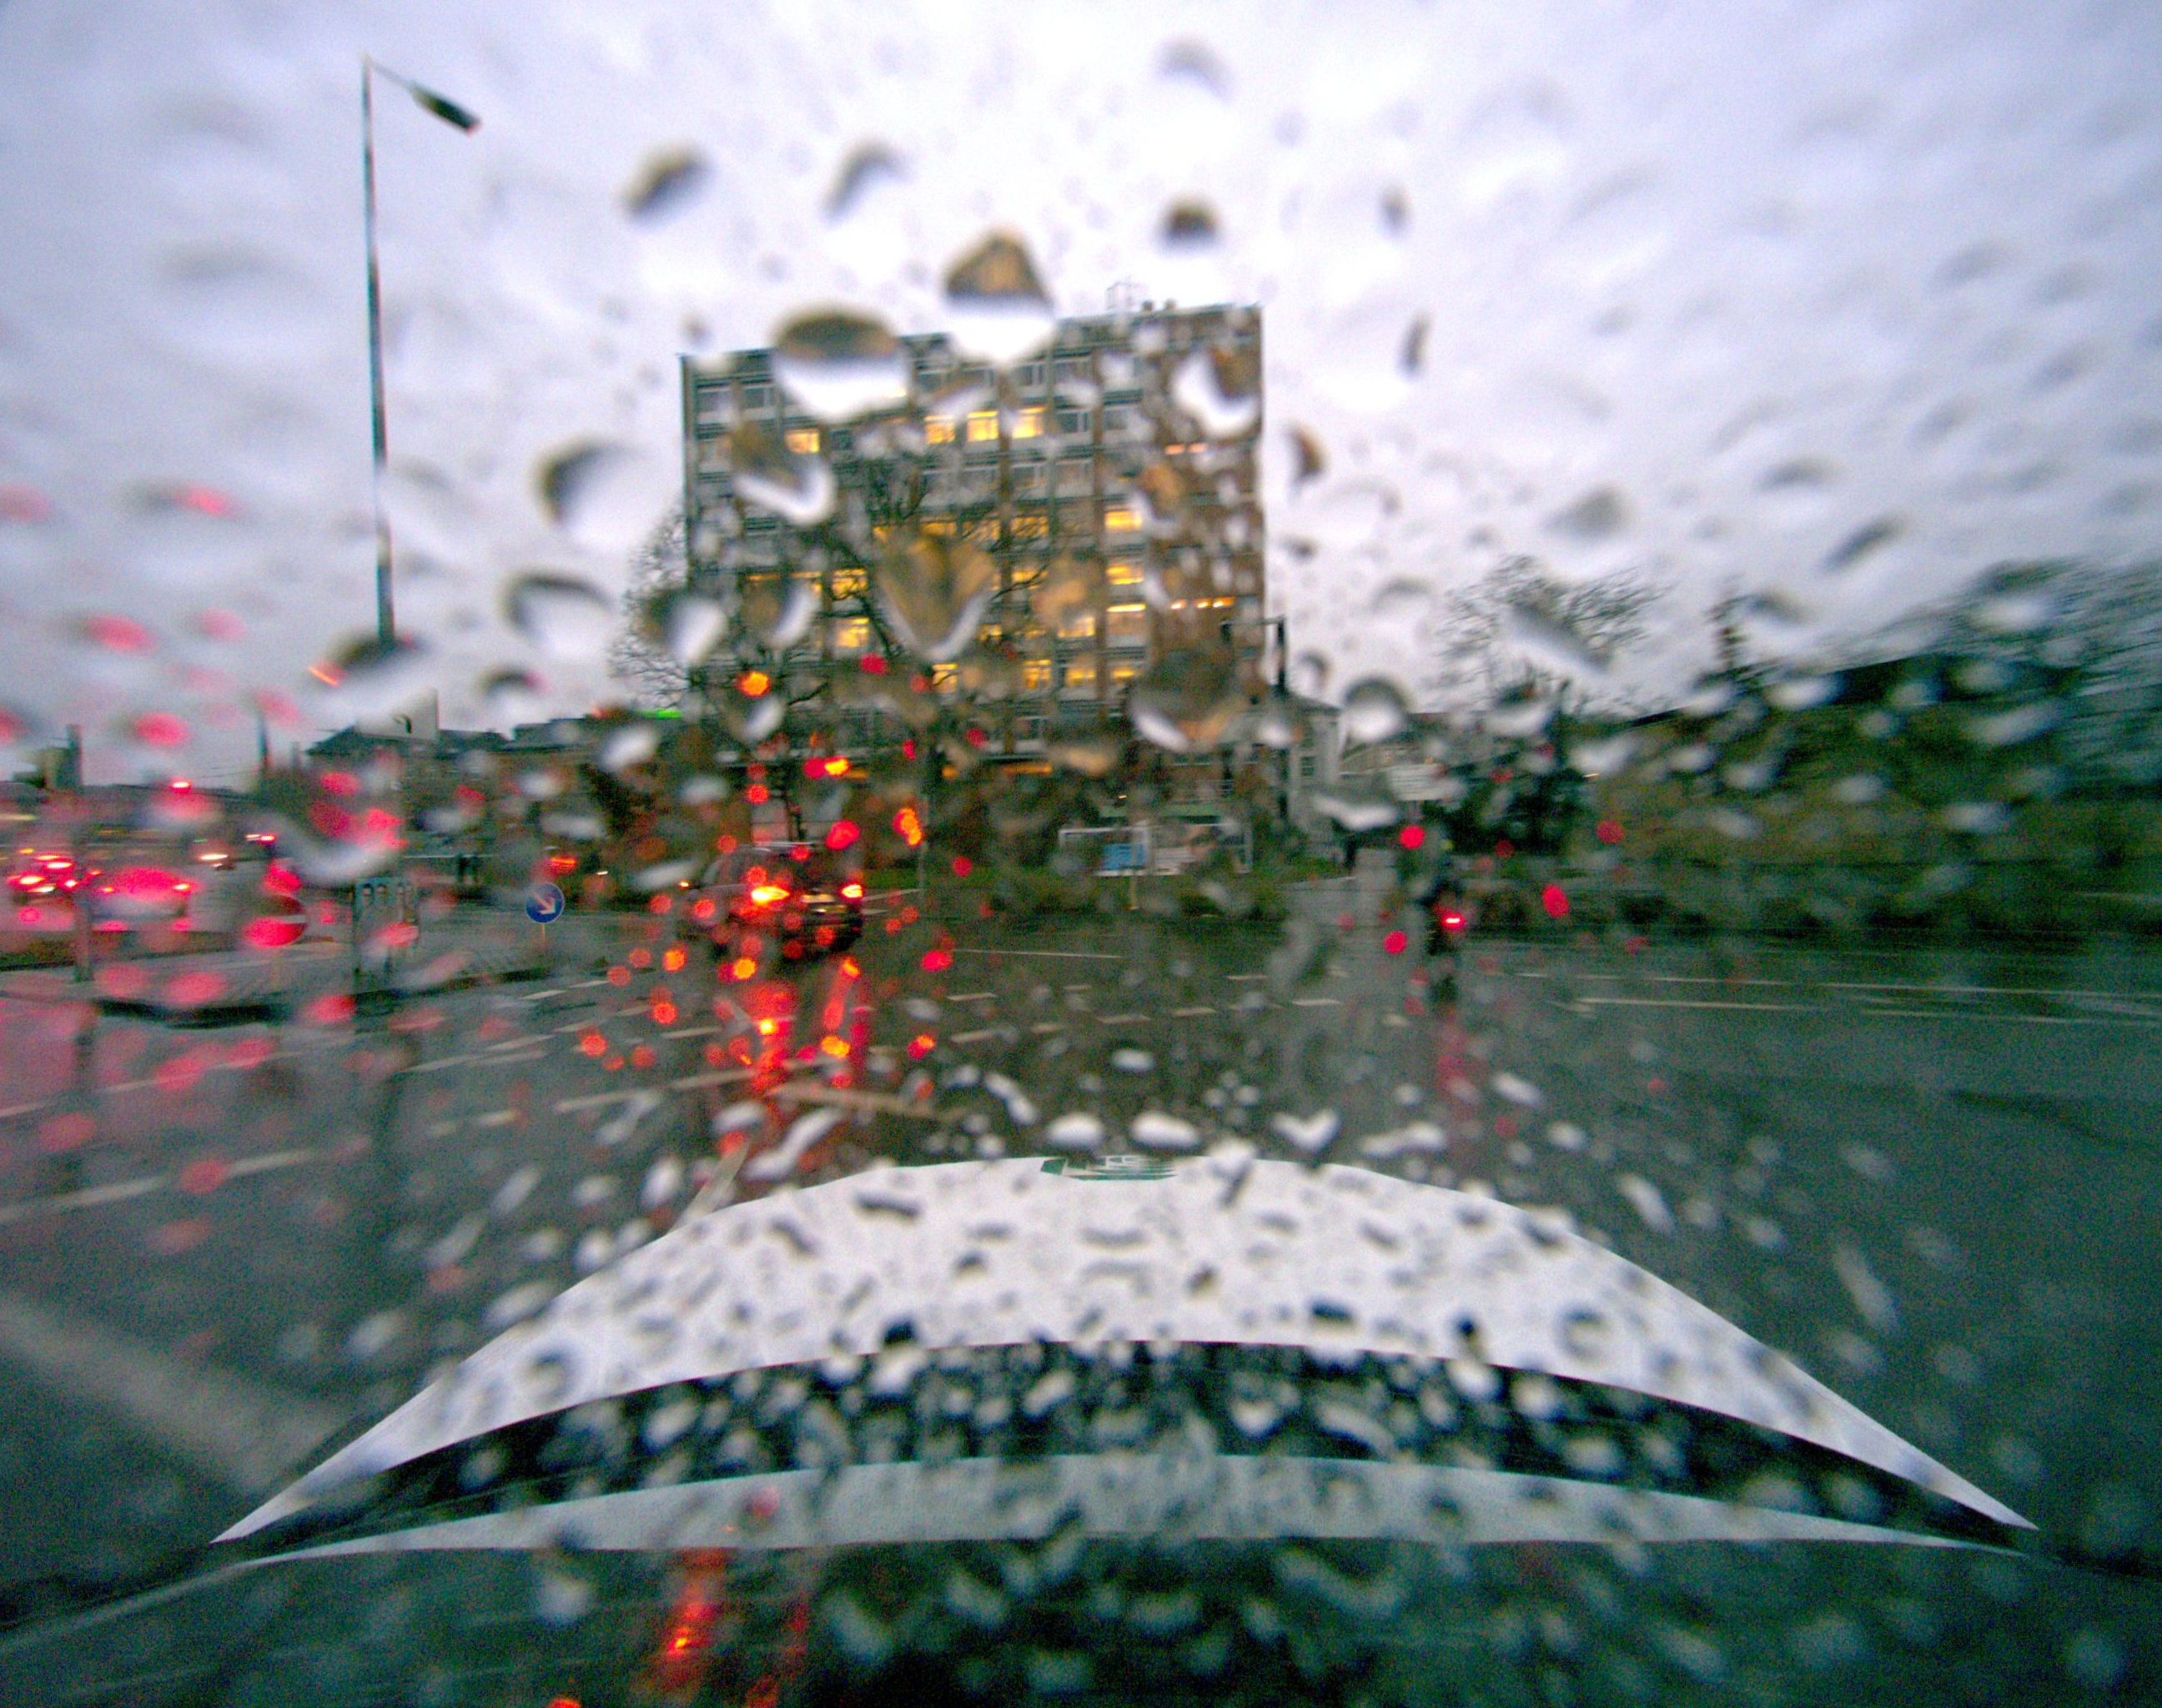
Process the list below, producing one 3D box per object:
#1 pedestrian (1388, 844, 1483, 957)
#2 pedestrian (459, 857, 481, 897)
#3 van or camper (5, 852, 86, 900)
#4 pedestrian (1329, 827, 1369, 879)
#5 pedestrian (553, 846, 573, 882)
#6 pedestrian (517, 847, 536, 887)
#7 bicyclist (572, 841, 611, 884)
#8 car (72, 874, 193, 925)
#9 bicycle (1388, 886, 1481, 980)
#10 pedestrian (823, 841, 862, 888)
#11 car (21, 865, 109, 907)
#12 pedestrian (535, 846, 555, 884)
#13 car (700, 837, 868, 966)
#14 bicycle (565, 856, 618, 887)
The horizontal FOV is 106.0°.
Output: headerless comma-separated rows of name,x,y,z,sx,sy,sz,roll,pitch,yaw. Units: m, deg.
pedestrian,4.384,0.558,10.130,0.869,1.316,0.850,-2,1,8
pedestrian,-31.666,1.167,42.207,0.812,2.013,0.753,0,2,-30
van or camper,-48.917,0.988,38.454,4.922,2.109,2.223,-1,0,36
pedestrian,9.156,-0.050,27.826,0.927,1.687,0.907,-1,3,-17
pedestrian,-24.328,0.460,38.252,0.722,1.687,0.753,-2,1,-31
pedestrian,-25.326,0.569,37.198,0.587,1.781,0.761,-4,2,-30
bicyclist,-19.620,0.337,32.673,1.072,1.617,0.812,0,4,30
car,-30.302,1.404,25.997,3.823,1.482,1.716,0,-2,29
bicycle,4.462,0.960,10.422,0.558,0.946,2.100,-1,1,9
pedestrian,-8.816,0.389,30.134,1.057,1.687,0.815,-1,2,29
car,-41.724,1.281,33.432,4.482,1.601,1.802,-1,-1,33
pedestrian,-24.711,0.501,37.551,0.672,1.687,0.606,-4,4,-30
car,-5.172,0.645,13.776,1.790,1.800,4.380,-1,1,-32
bicycle,-19.695,0.703,32.755,2.185,1.141,0.812,0,4,30
